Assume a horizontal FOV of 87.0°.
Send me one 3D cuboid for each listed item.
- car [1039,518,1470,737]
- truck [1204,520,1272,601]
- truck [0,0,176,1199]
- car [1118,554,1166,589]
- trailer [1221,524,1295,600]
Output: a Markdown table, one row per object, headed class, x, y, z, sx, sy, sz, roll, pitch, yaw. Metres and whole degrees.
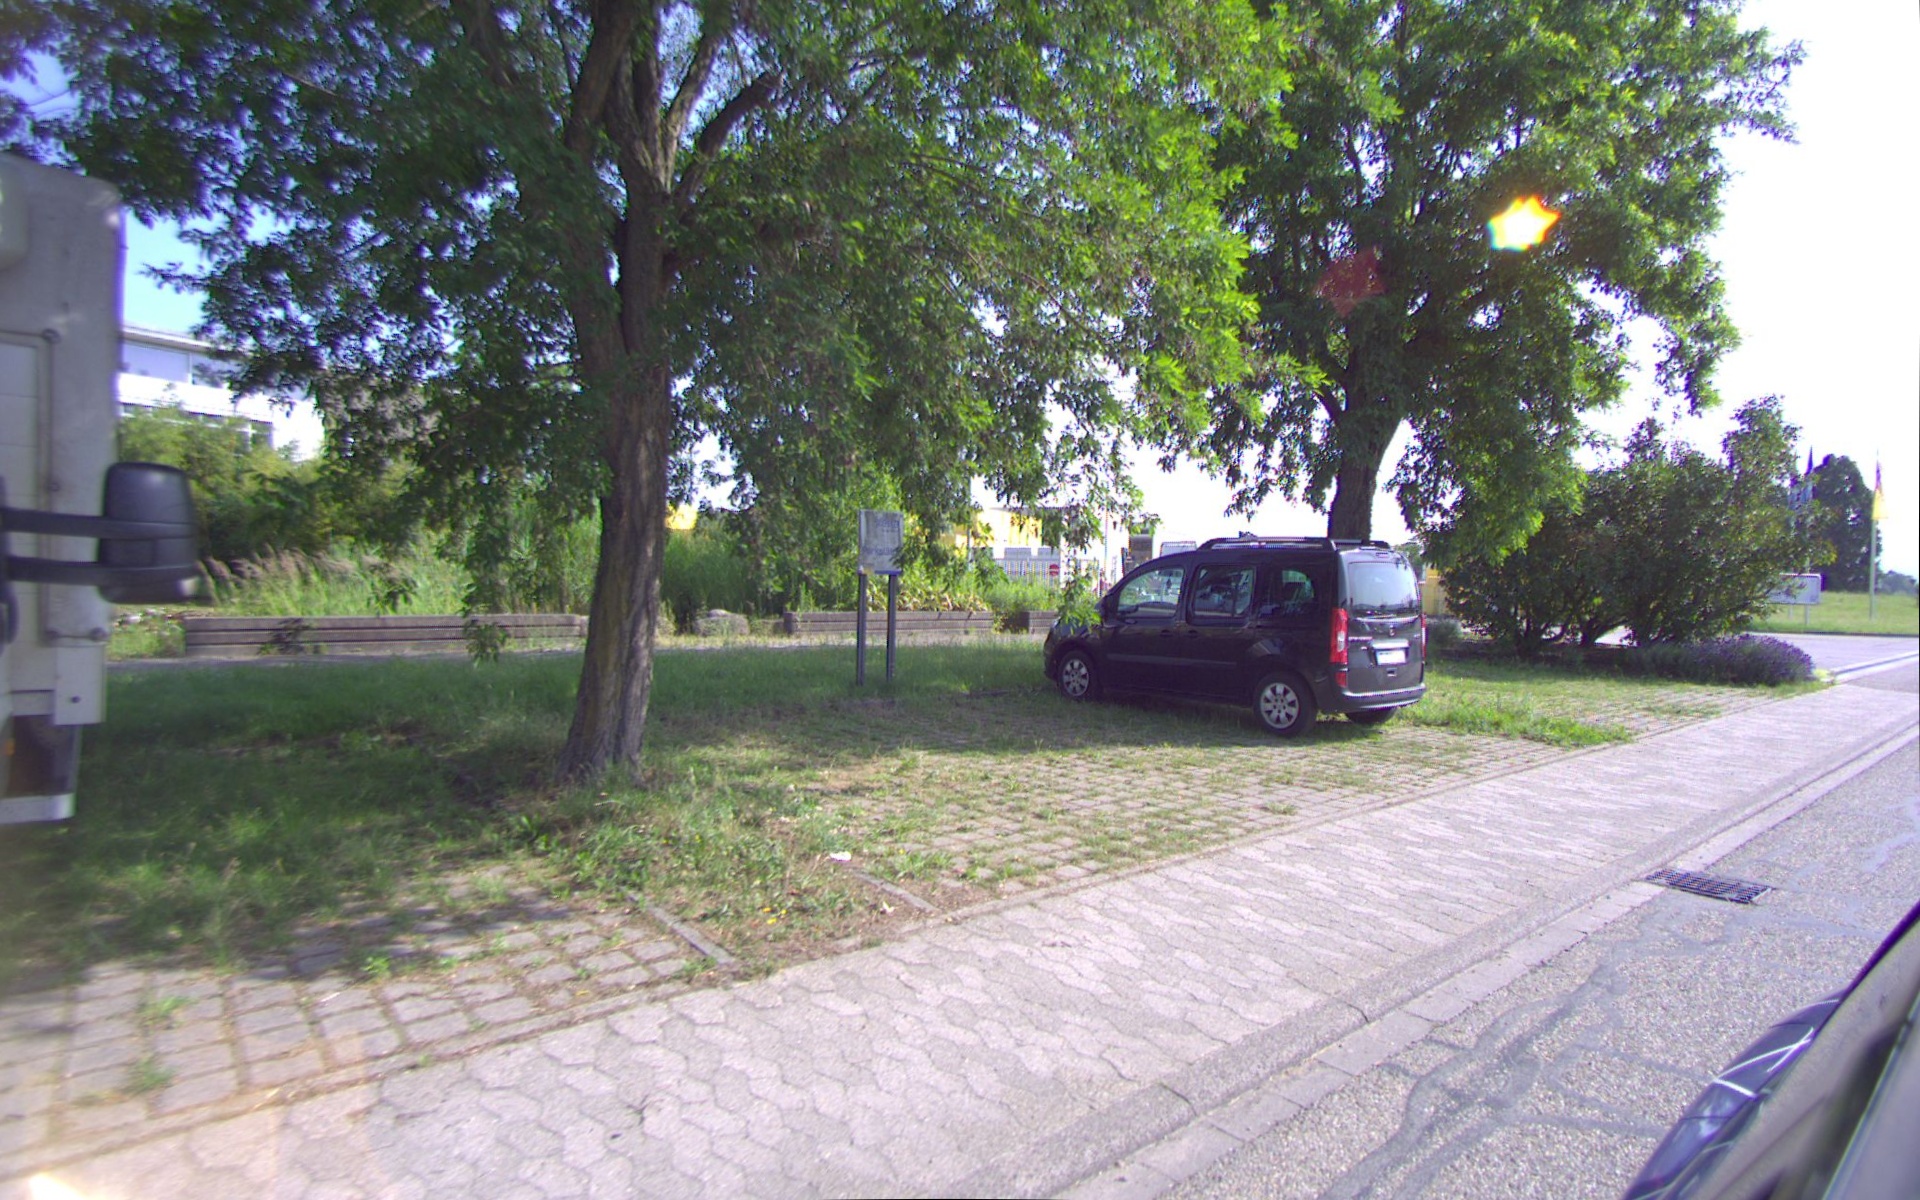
| class | x | y | z | sx | sy | sz | roll | pitch | yaw |
| --- | --- | --- | --- | --- | --- | --- | --- | --- | --- |
| car | 2.932 | 0.143 | 10.793 | 1.964 | 1.860 | 3.998 | 0 | 2 | -38 |
| truck | 14.315 | -1.968 | 51.972 | 2.522 | 3.924 | 3.961 | -1 | 1 | 28 |
| truck | -5.177 | -0.631 | 4.202 | 2.693 | 3.411 | 8.227 | -1 | 3 | -40 |
| car | 15.046 | -2.360 | 83.583 | 3.485 | 2.744 | 1.694 | 3 | 2 | 30 |
| trailer | 16.749 | -2.079 | 56.570 | 2.462 | 3.924 | 7.726 | -1 | 1 | 28 |
